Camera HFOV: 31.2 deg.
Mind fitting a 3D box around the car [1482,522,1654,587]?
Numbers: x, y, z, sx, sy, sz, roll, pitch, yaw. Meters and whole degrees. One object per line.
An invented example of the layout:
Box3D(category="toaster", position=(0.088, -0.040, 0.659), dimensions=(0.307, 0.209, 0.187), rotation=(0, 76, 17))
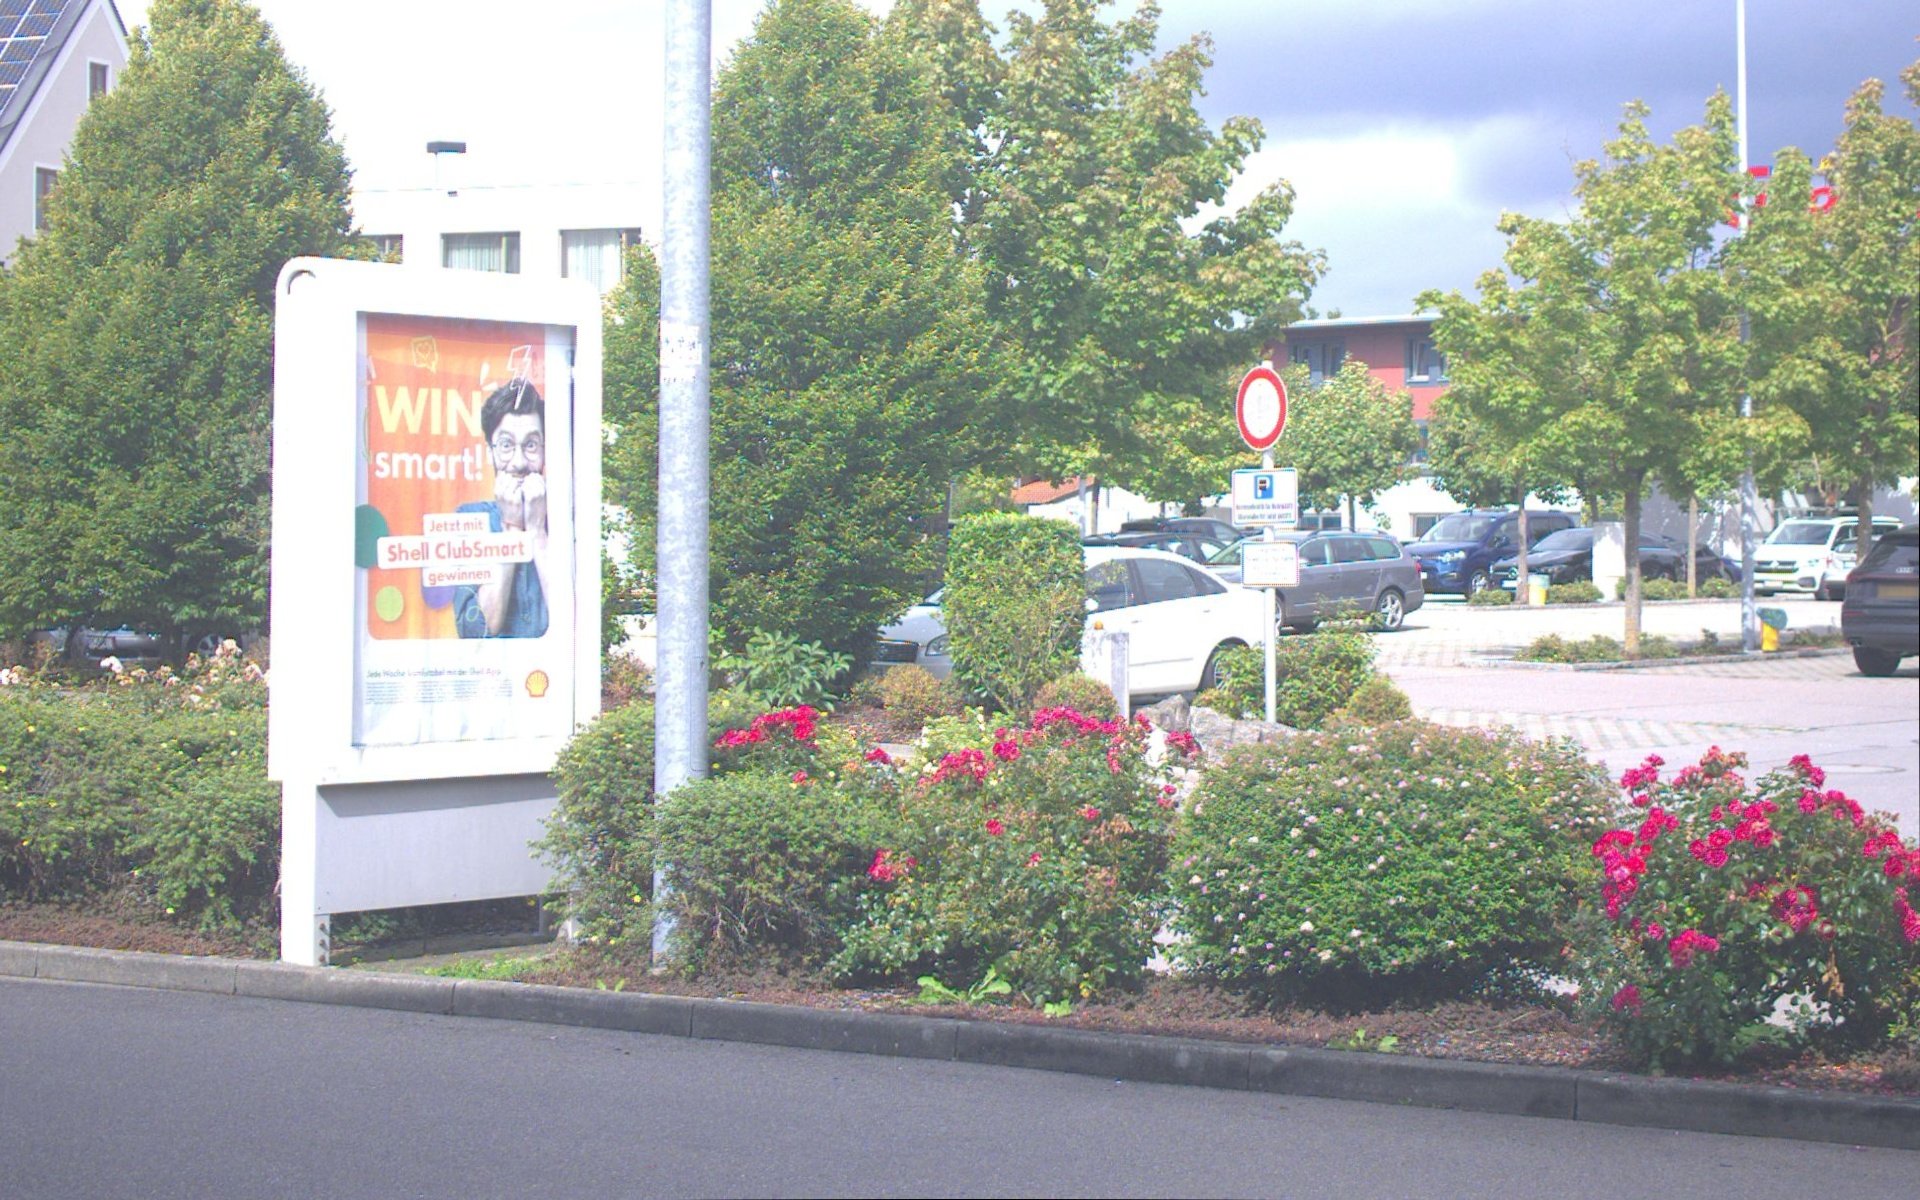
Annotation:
Box3D(category="car", position=(11.518, -0.847, 65.048), dimensions=(3.409, 1.174, 1.485), rotation=(0, 1, -44))

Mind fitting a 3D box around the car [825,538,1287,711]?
Box3D(category="car", position=(0.906, 0.197, 29.940), dimensions=(4.332, 1.399, 1.370), rotation=(0, 1, -44))

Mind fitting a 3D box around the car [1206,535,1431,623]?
Box3D(category="car", position=(5.204, -0.297, 49.729), dimensions=(3.218, 1.224, 1.505), rotation=(0, 1, -44))

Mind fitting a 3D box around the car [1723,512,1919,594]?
Box3D(category="car", position=(20.250, -1.093, 80.654), dimensions=(4.864, 1.827, 2.184), rotation=(0, 1, -43))

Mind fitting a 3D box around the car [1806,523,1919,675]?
Box3D(category="car", position=(11.135, -0.012, 36.743), dimensions=(4.491, 1.543, 1.885), rotation=(0, 1, -43))

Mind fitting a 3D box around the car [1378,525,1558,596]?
Box3D(category="car", position=(9.889, -0.766, 66.796), dimensions=(3.379, 1.316, 1.747), rotation=(0, 1, -44))
